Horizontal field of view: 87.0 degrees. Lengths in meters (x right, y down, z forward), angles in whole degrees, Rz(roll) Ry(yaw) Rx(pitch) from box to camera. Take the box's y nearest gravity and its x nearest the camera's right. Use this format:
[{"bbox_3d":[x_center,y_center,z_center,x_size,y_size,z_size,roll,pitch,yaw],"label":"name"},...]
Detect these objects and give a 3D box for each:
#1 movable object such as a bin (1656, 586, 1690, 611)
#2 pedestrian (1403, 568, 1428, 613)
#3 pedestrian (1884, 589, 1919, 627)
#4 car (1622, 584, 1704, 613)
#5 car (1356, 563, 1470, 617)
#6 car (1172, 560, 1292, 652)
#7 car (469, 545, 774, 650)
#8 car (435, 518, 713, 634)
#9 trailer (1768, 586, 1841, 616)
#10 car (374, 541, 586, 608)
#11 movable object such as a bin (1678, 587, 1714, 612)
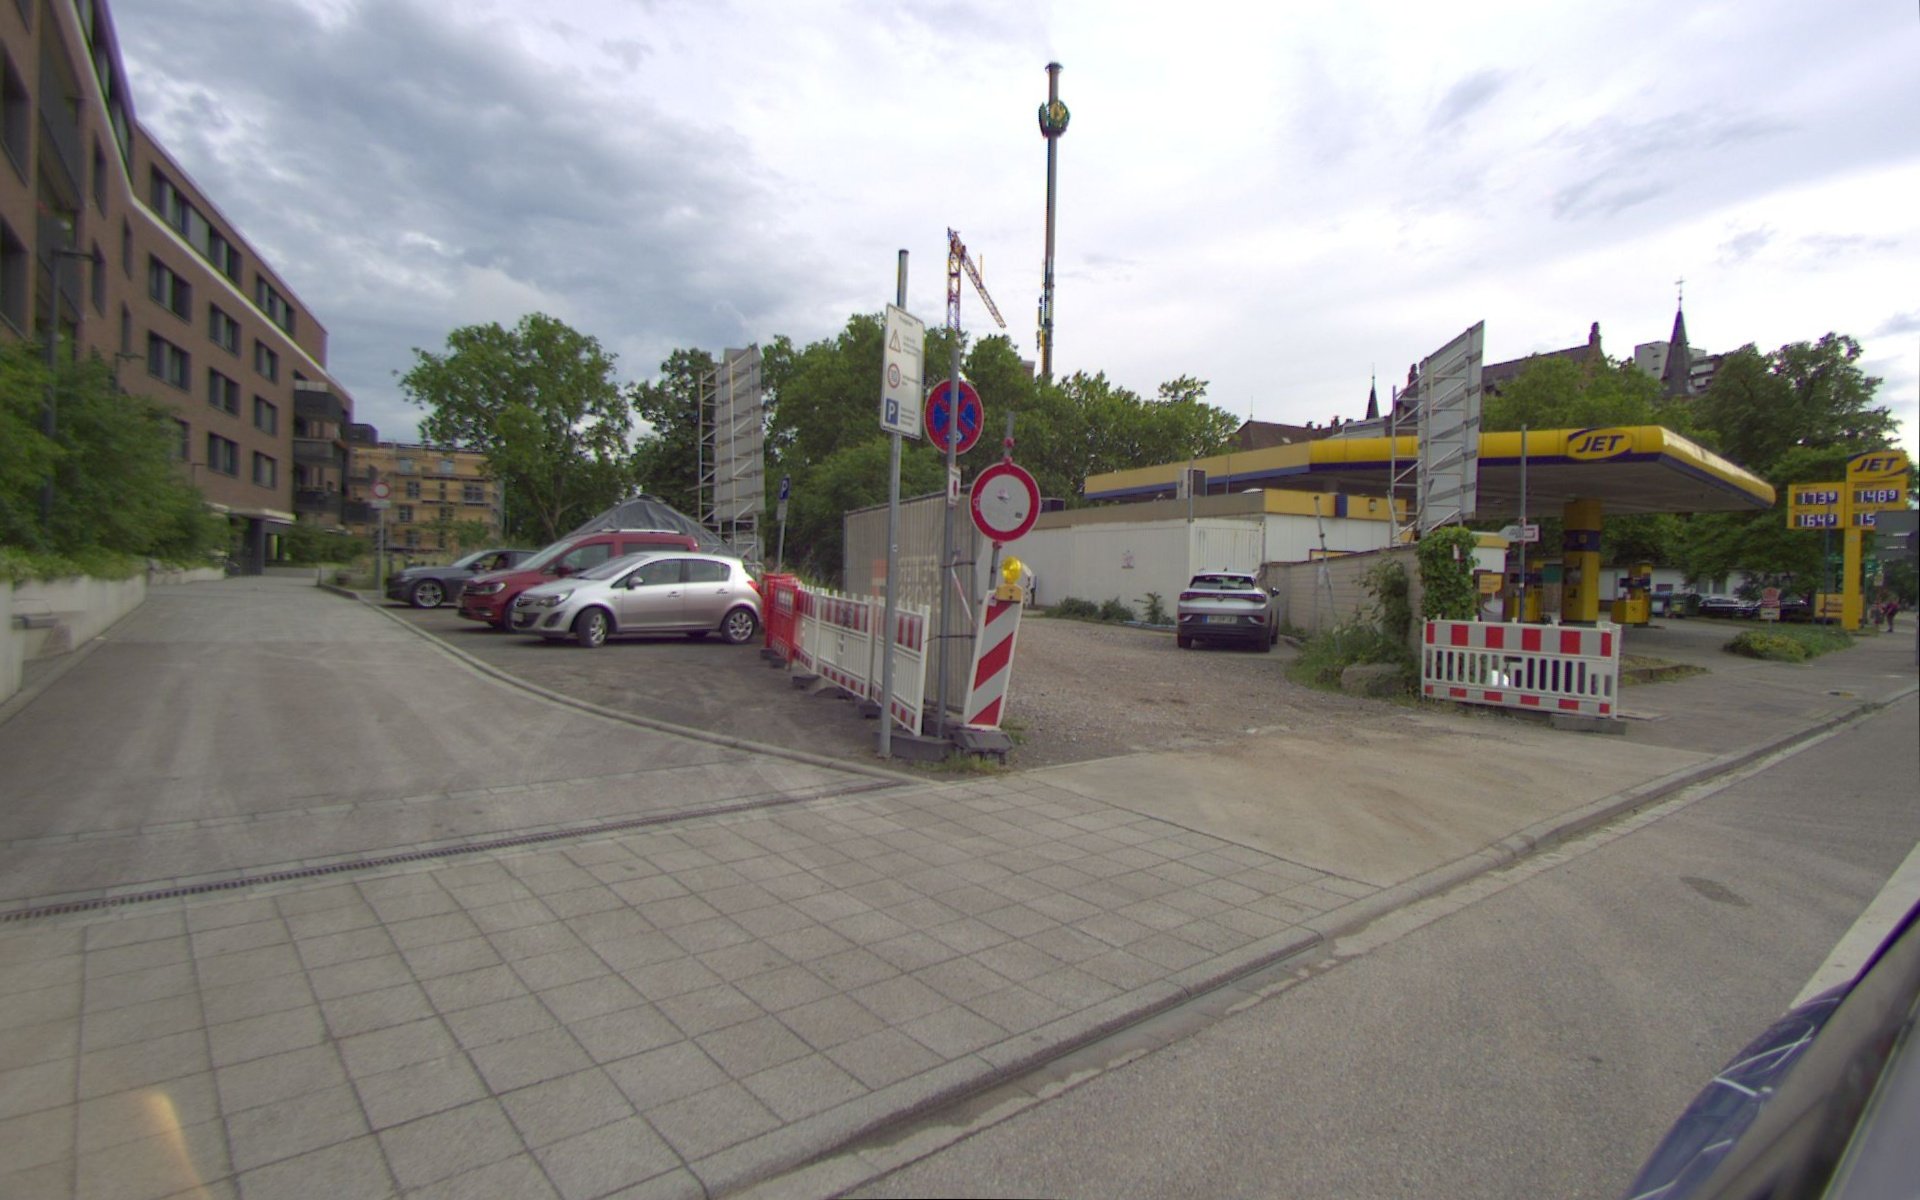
[{"bbox_3d":[40.613,-0.083,57.660,1.136,1.376,1.123,0,0,-13],"label":"movable object such as a bin"},{"bbox_3d":[18.728,-0.385,41.613,0.614,1.809,0.709,0,0,-20],"label":"pedestrian"},{"bbox_3d":[46.973,0.385,50.481,0.858,1.768,0.847,4,3,17],"label":"pedestrian"},{"bbox_3d":[42.380,-0.114,61.008,3.942,1.717,1.815,0,1,-11],"label":"car"},{"bbox_3d":[17.817,-0.422,39.810,4.166,2.012,1.828,0,2,-26],"label":"car"},{"bbox_3d":[5.670,0.031,20.806,1.976,1.657,3.924,2,2,21],"label":"car"},{"bbox_3d":[-5.264,-0.082,16.102,4.274,1.435,1.765,0,3,-43],"label":"car"},{"bbox_3d":[-6.949,-0.451,18.493,4.345,1.867,1.926,0,3,-42],"label":"car"},{"bbox_3d":[51.049,0.028,61.198,3.282,1.549,1.747,4,5,43],"label":"trailer"},{"bbox_3d":[-11.283,-0.602,23.914,4.266,1.435,1.769,0,3,-36],"label":"car"},{"bbox_3d":[41.056,-0.035,56.479,1.136,1.336,1.123,0,0,-13],"label":"movable object such as a bin"}]
